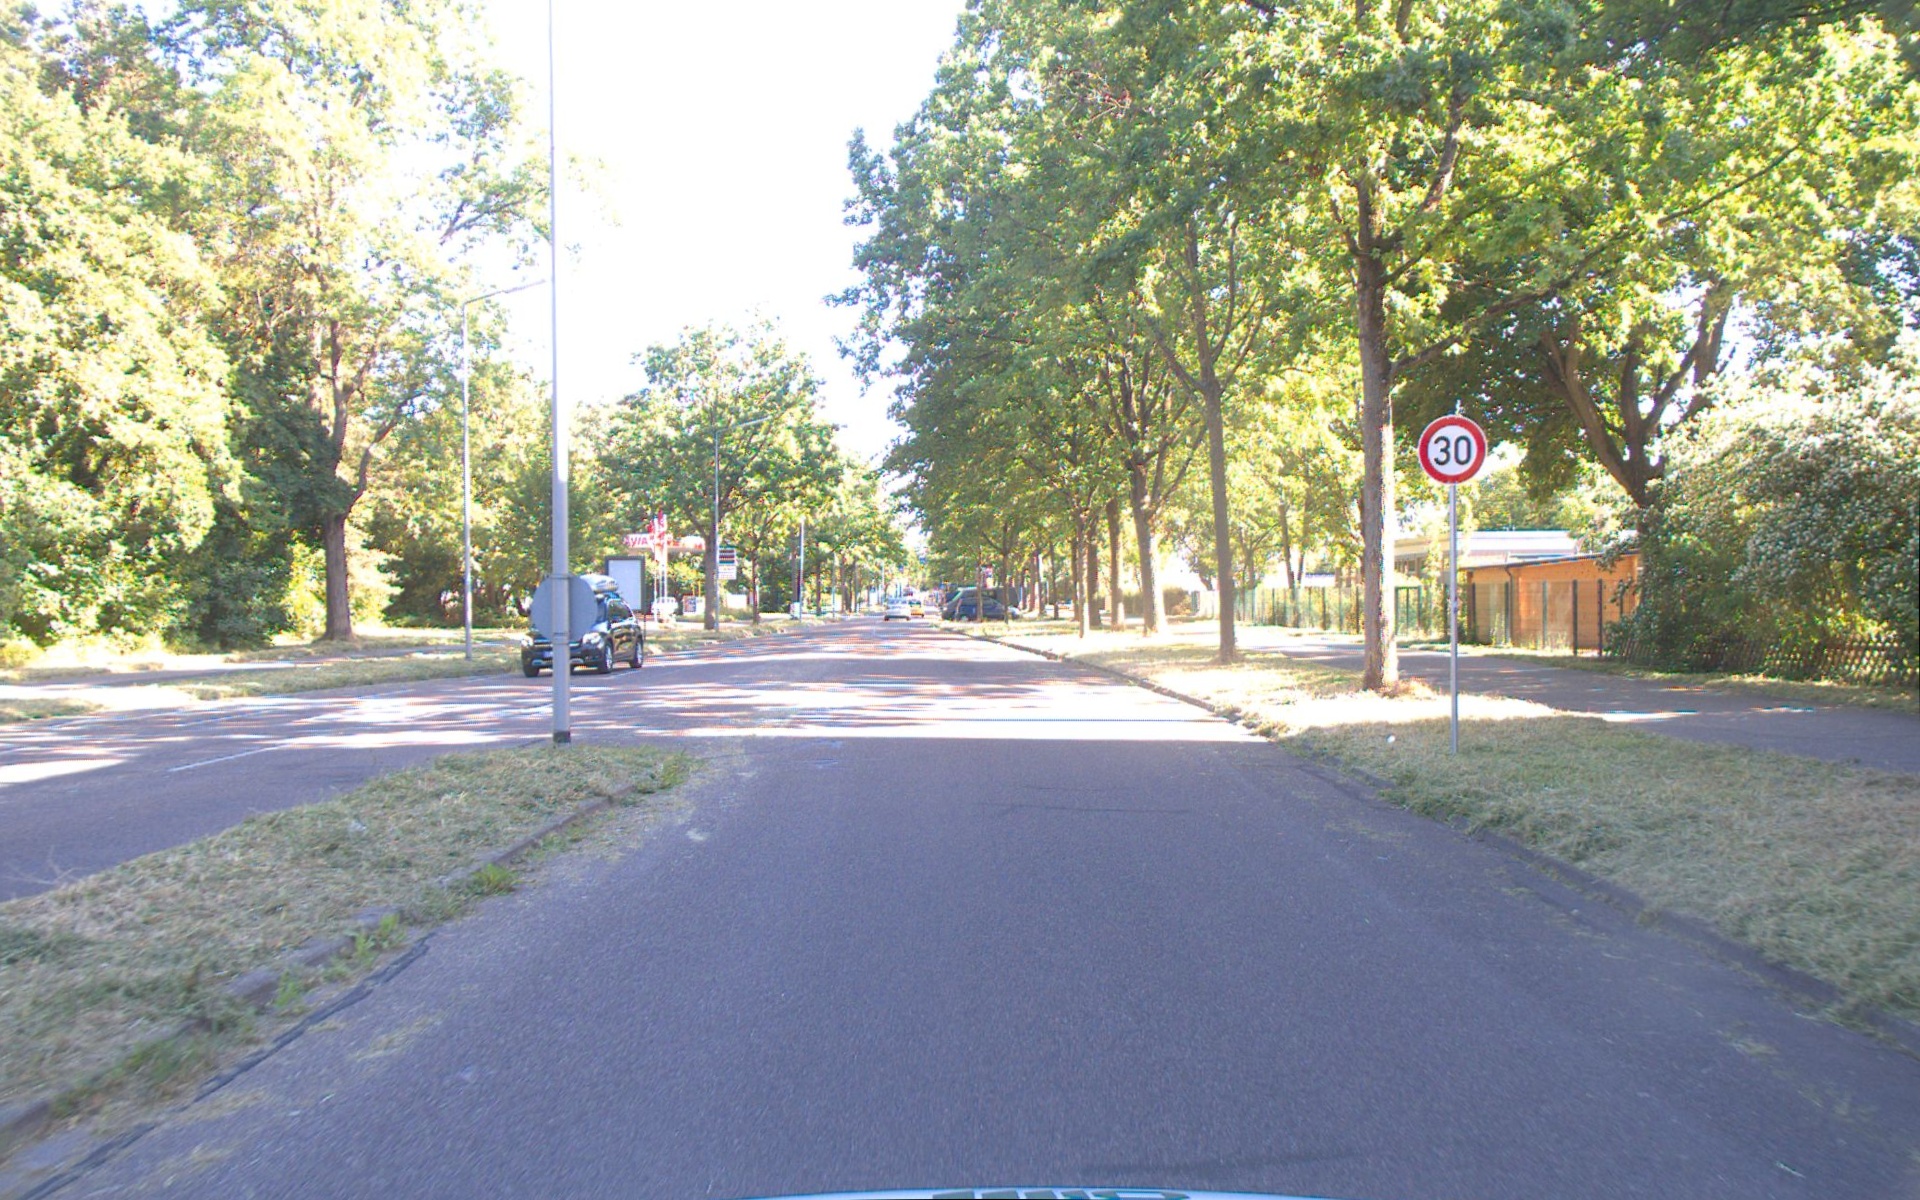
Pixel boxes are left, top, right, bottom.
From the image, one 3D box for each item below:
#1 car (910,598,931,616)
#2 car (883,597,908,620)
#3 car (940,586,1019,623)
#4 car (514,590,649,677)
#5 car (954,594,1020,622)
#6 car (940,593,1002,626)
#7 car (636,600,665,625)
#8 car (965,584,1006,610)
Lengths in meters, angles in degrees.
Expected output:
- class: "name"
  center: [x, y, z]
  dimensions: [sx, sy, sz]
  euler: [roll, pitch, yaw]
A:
- class: "car"
  center: [-3.199, 0.589, 134.201]
  dimensions: [1.627, 1.360, 3.663]
  euler: [-1, -1, -2]
- class: "car"
  center: [-4.239, 0.576, 108.808]
  dimensions: [1.627, 1.360, 3.663]
  euler: [-1, -1, -2]
- class: "car"
  center: [1.091, 0.271, 95.046]
  dimensions: [4.412, 1.987, 1.687]
  euler: [-1, -1, -2]
- class: "car"
  center: [-8.216, 0.700, 36.298]
  dimensions: [1.801, 1.738, 4.505]
  euler: [-2, 0, 1]
- class: "car"
  center: [1.510, 0.457, 92.077]
  dimensions: [3.579, 1.423, 1.317]
  euler: [-1, -1, -2]
- class: "car"
  center: [0.618, 0.572, 97.513]
  dimensions: [3.579, 1.829, 1.317]
  euler: [-1, -1, -2]
- class: "car"
  center: [-24.180, 1.023, 129.360]
  dimensions: [1.765, 1.855, 3.802]
  euler: [-1, -1, -4]
- class: "car"
  center: [2.189, -0.237, 144.024]
  dimensions: [3.495, 2.087, 1.632]
  euler: [-1, -3, -2]
